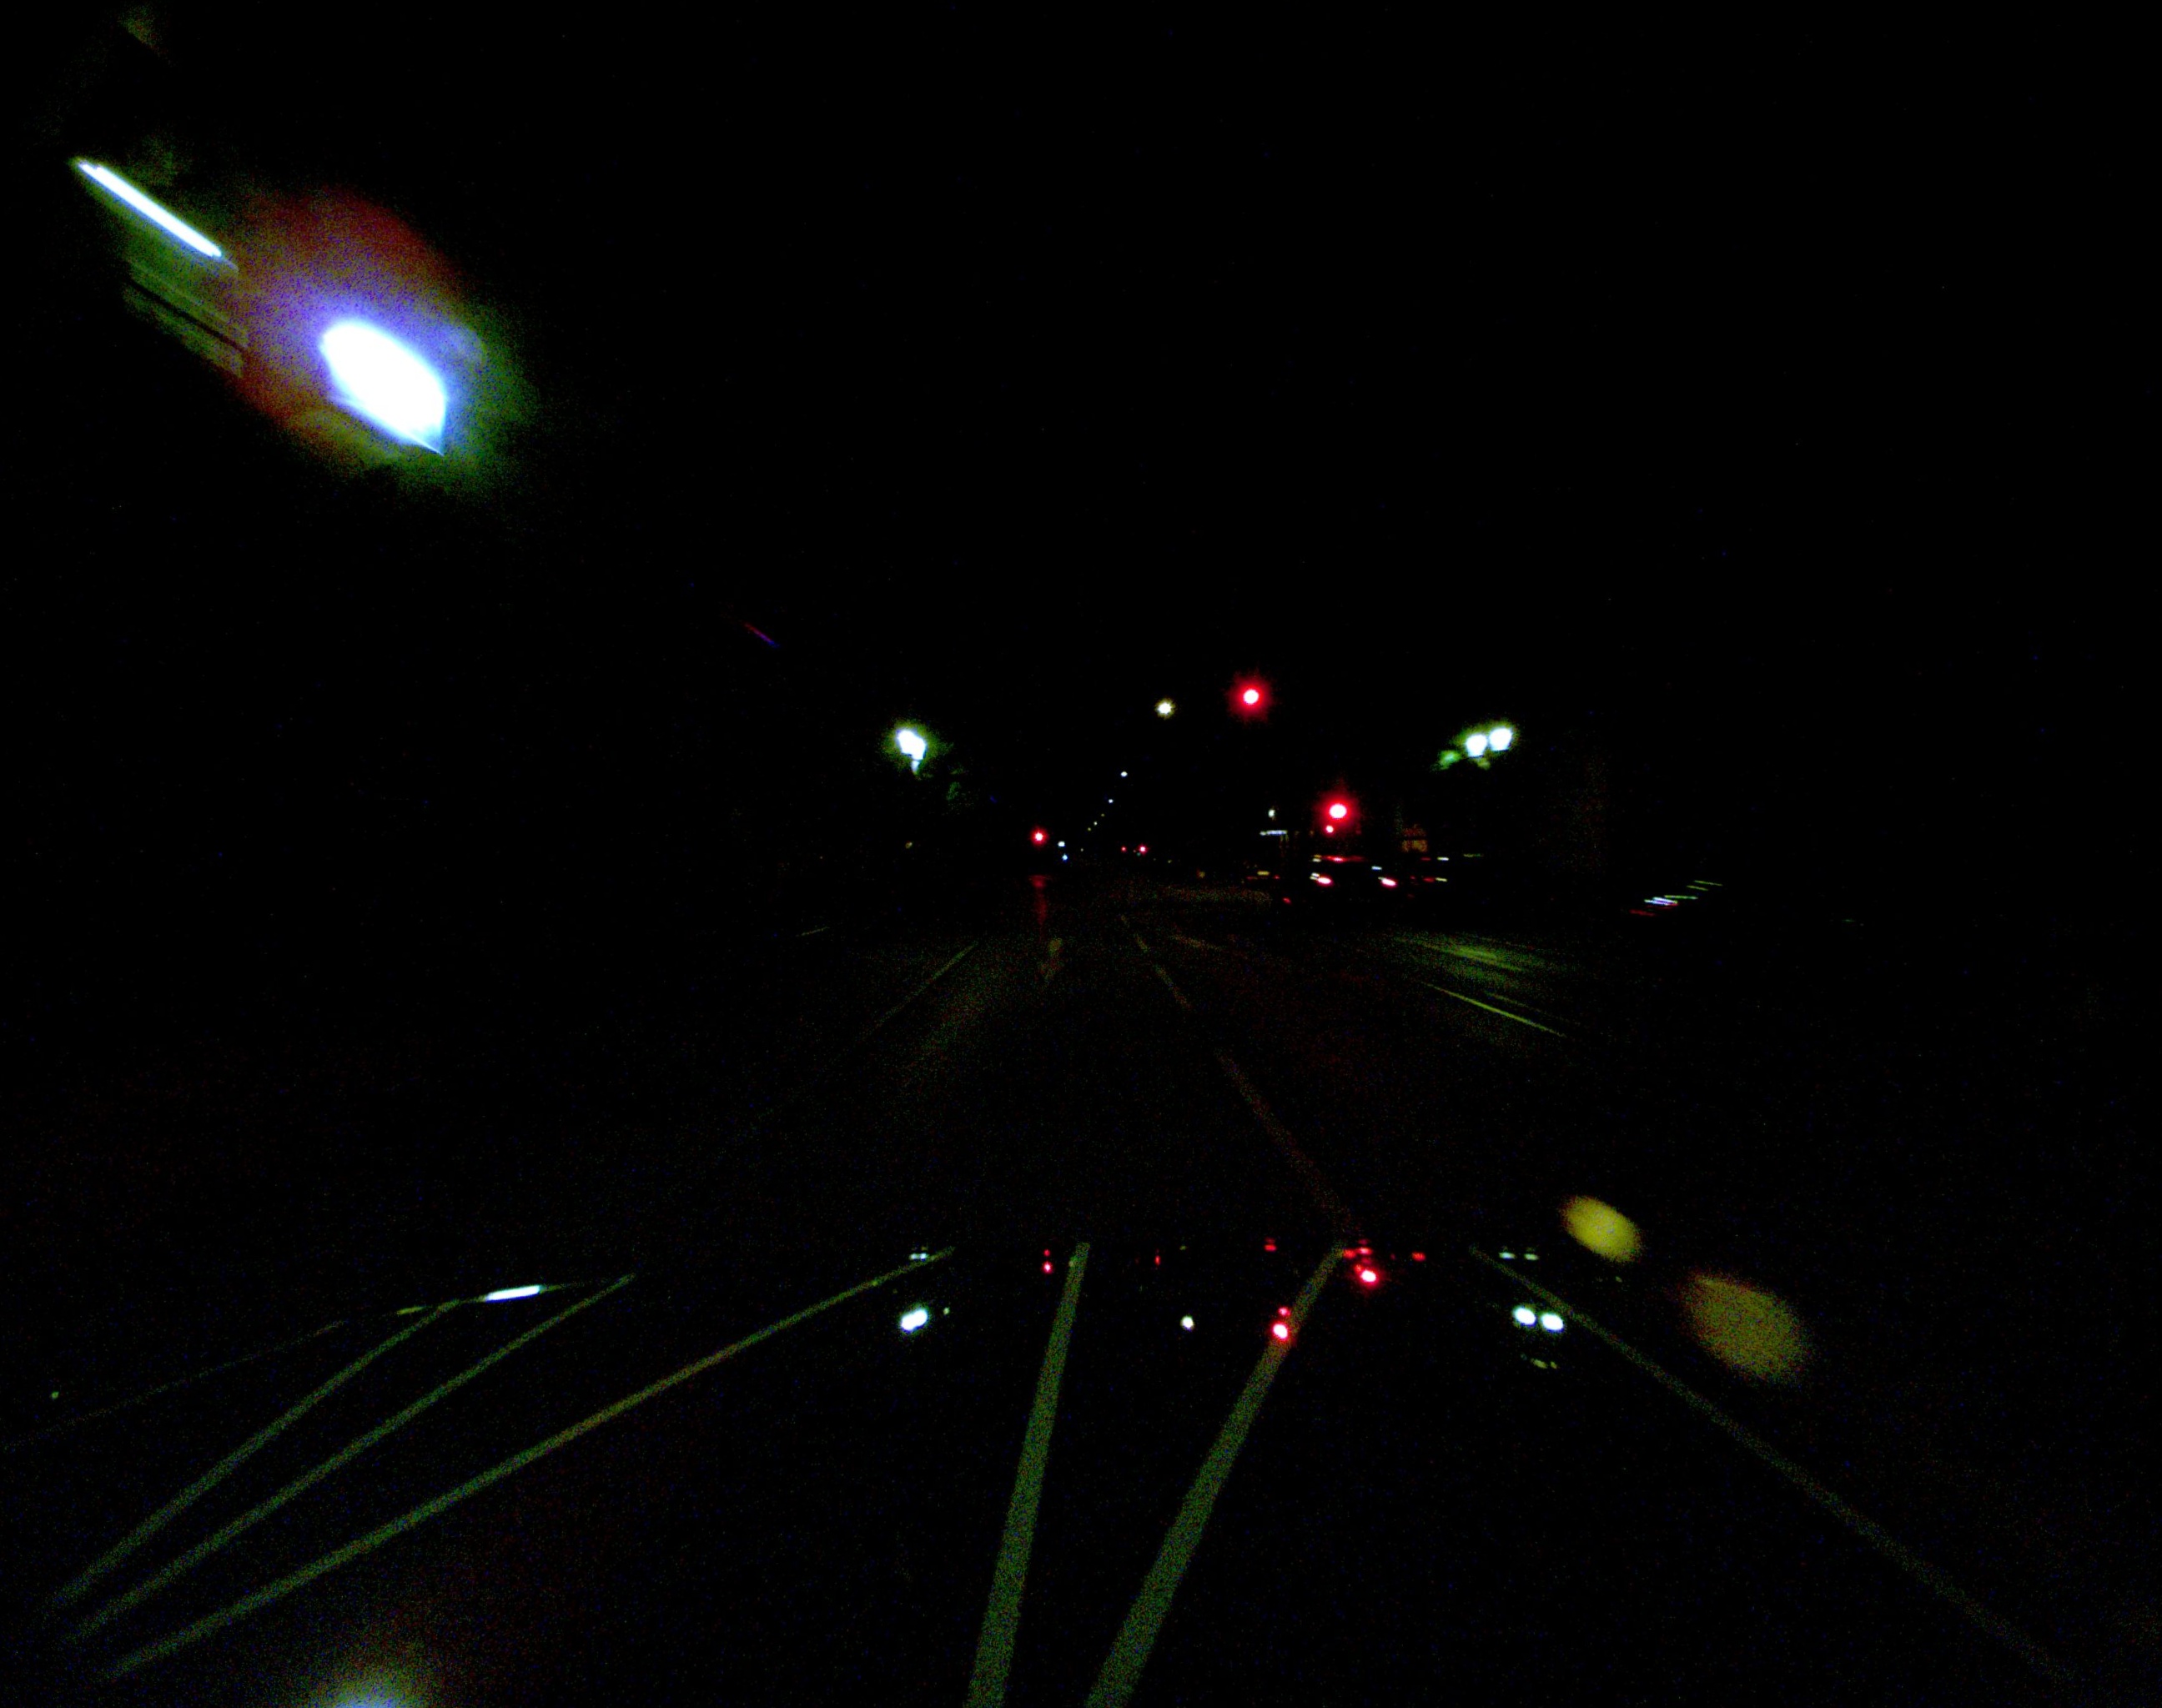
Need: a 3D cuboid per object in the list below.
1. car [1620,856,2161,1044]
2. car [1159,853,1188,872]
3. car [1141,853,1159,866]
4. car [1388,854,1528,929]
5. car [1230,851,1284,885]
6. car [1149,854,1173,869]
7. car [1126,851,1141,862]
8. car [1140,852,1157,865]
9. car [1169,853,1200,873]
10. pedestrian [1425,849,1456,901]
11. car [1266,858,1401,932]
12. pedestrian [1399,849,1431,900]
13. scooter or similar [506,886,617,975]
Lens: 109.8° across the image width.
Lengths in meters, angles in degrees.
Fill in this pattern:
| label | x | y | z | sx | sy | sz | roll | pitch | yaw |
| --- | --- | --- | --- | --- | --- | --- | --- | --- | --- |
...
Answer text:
| label | x | y | z | sx | sy | sz | roll | pitch | yaw |
| --- | --- | --- | --- | --- | --- | --- | --- | --- | --- |
| car | 8.439 | 0.794 | 8.418 | 1.789 | 1.482 | 4.329 | -2 | 0 | -1 |
| car | 7.793 | 0.712 | 64.402 | 1.865 | 1.470 | 4.472 | -1 | 0 | 0 |
| car | 7.819 | 0.586 | 86.120 | 1.555 | 1.425 | 4.347 | -2 | 0 | 0 |
| car | 8.576 | 0.785 | 17.640 | 1.596 | 1.482 | 3.700 | -3 | 0 | 4 |
| car | 8.858 | 0.652 | 38.505 | 1.890 | 1.587 | 4.024 | -1 | 0 | 2 |
| car | 8.131 | 0.766 | 77.684 | 1.866 | 1.425 | 4.402 | -1 | 0 | -2 |
| car | 7.382 | 0.356 | 107.361 | 1.633 | 1.455 | 3.513 | 1 | 0 | -4 |
| car | 8.026 | 0.506 | 90.674 | 1.642 | 1.425 | 4.349 | -2 | 0 | 0 |
| car | 8.046 | 0.667 | 59.375 | 1.865 | 1.425 | 4.443 | -1 | 0 | 0 |
| pedestrian | 12.091 | 0.694 | 25.570 | 0.710 | 1.680 | 0.998 | 1 | 1 | 10 |
| car | 5.554 | 0.835 | 17.235 | 1.719 | 1.421 | 4.000 | 1 | 0 | 0 |
| pedestrian | 11.302 | 0.681 | 25.726 | 0.710 | 1.680 | 1.125 | 1 | 0 | 10 |
| scooter or similar | -7.415 | 1.053 | 10.920 | 0.422 | 1.124 | 1.494 | 1 | 0 | 8 |
